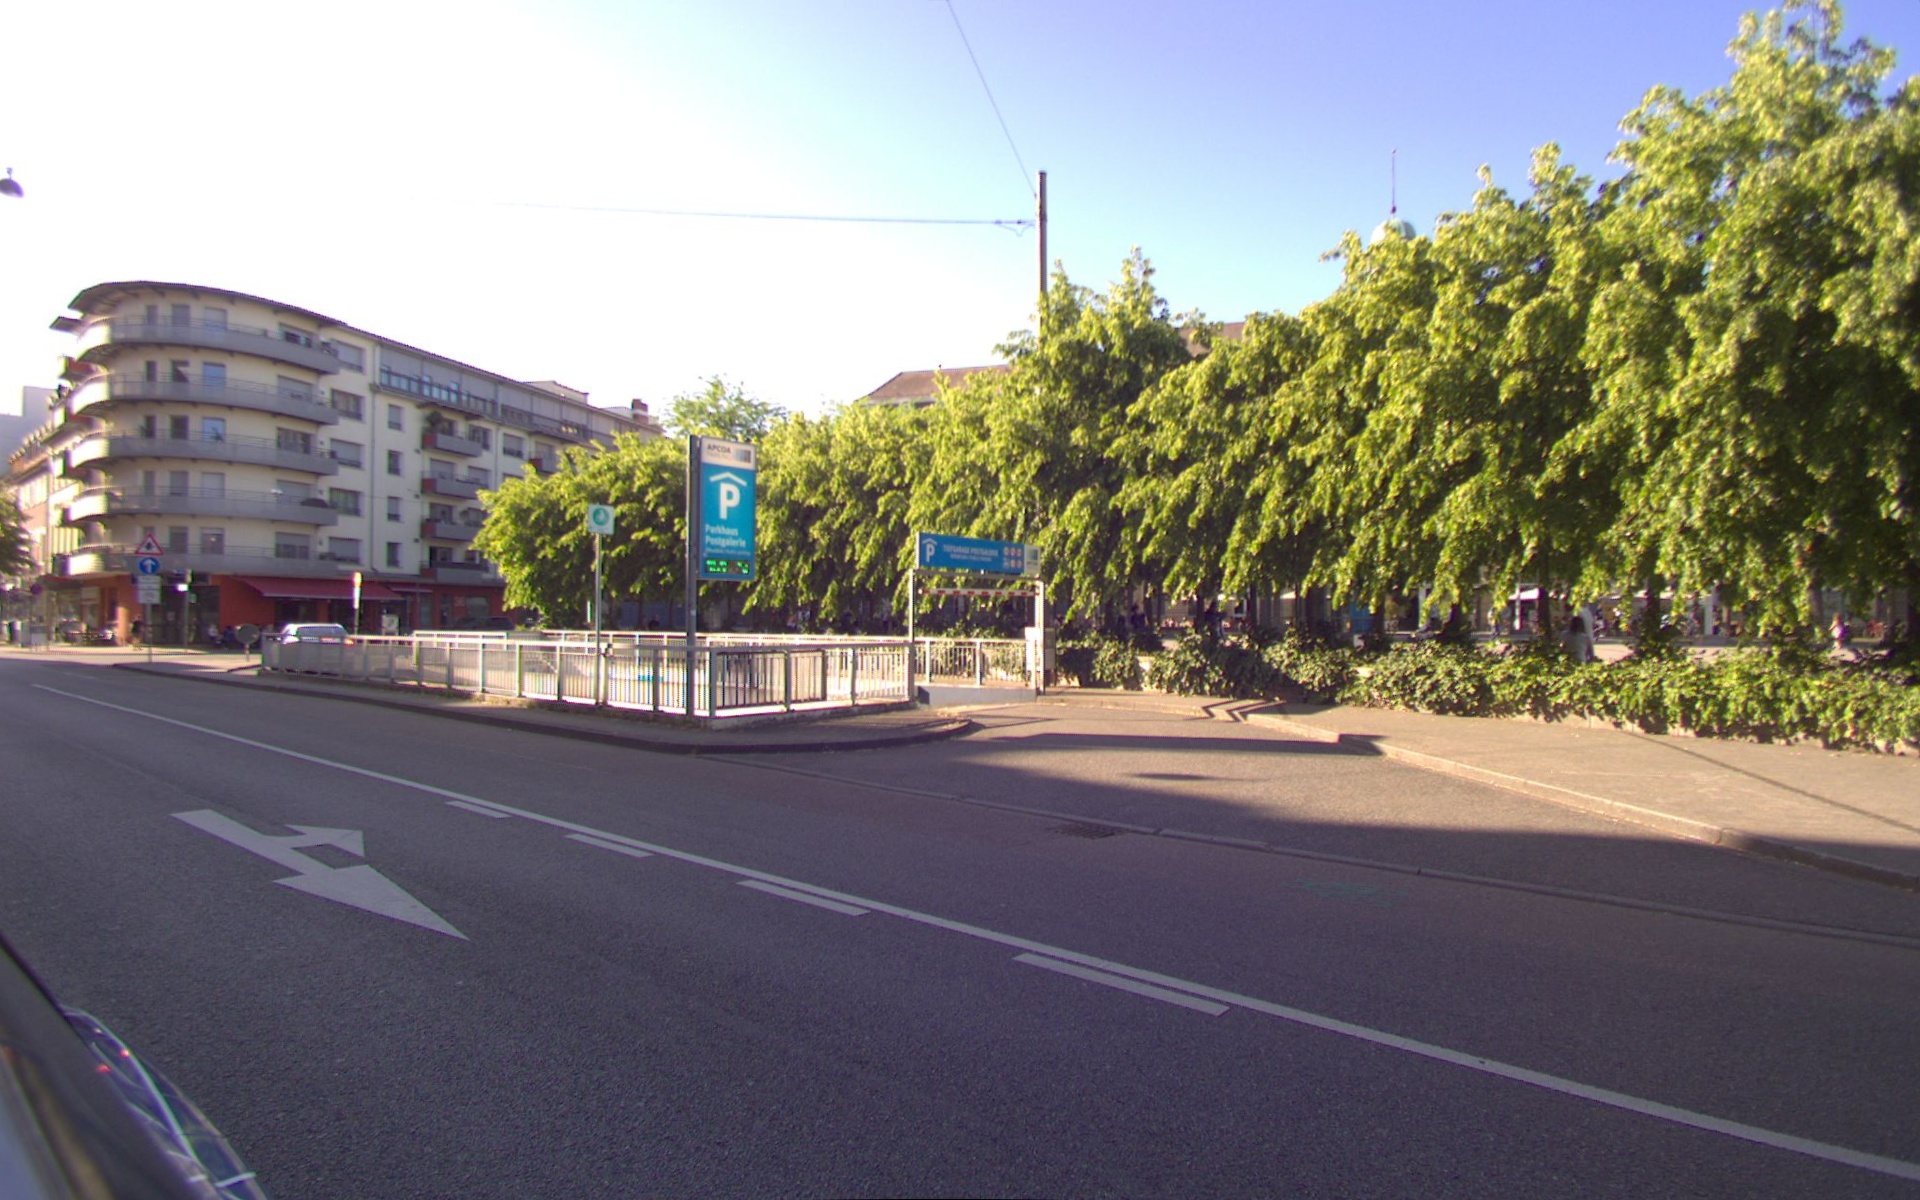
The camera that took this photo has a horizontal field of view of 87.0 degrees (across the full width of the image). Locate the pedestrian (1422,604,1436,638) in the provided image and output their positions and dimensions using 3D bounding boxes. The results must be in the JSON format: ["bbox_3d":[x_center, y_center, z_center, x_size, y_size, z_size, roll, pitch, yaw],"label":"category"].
[{"bbox_3d":[24.294,1.072,52.407,0.643,1.734,0.603,-1,0,26],"label":"pedestrian"}]

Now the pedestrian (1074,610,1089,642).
[{"bbox_3d":[6.676,1.449,55.663,0.606,1.734,0.640,-1,0,31],"label":"pedestrian"}]

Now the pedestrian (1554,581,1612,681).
[{"bbox_3d":[10.616,0.510,17.250,0.645,1.661,0.626,-1,0,-35],"label":"pedestrian"}]

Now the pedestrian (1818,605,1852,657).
[{"bbox_3d":[29.548,1.055,34.176,0.641,1.734,0.605,-1,0,18],"label":"pedestrian"}]

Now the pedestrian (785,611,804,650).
[{"bbox_3d":[-7.474,1.354,45.694,0.604,1.734,0.642,-1,0,21],"label":"pedestrian"}]

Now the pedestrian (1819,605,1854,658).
[{"bbox_3d":[29.434,1.056,33.982,0.640,1.734,0.606,-1,0,13],"label":"pedestrian"}]

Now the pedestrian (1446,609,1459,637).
[{"bbox_3d":[30.269,1.419,62.179,0.642,1.734,0.604,-1,0,20],"label":"pedestrian"}]

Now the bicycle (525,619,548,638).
[{"bbox_3d":[-27.450,1.836,65.555,0.522,1.179,1.586,-1,0,15],"label":"bicycle"}]

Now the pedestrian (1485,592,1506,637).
[{"bbox_3d":[20.900,0.575,39.481,0.643,1.734,0.604,-1,0,22],"label":"pedestrian"}]

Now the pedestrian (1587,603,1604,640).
[{"bbox_3d":[33.719,1.144,53.691,0.676,1.963,0.632,-1,0,38],"label":"pedestrian"}]

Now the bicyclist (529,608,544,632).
[{"bbox_3d":[-27.439,1.311,65.611,0.520,1.559,0.795,-1,0,15],"label":"bicyclist"}]

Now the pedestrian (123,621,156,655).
[{"bbox_3d":[-39.456,1.833,48.662,0.877,1.607,0.861,-1,0,2],"label":"pedestrian"}]

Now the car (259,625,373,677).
[{"bbox_3d":[-18.895,1.469,29.622,4.266,1.363,1.798,0,-3,44],"label":"car"}]

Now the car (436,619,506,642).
[{"bbox_3d":[-30.495,1.885,63.216,1.742,1.311,3.977,-1,-1,17],"label":"car"}]

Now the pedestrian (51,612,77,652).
[{"bbox_3d":[-46.612,1.672,52.651,0.888,2.029,0.850,-1,0,40],"label":"pedestrian"}]
